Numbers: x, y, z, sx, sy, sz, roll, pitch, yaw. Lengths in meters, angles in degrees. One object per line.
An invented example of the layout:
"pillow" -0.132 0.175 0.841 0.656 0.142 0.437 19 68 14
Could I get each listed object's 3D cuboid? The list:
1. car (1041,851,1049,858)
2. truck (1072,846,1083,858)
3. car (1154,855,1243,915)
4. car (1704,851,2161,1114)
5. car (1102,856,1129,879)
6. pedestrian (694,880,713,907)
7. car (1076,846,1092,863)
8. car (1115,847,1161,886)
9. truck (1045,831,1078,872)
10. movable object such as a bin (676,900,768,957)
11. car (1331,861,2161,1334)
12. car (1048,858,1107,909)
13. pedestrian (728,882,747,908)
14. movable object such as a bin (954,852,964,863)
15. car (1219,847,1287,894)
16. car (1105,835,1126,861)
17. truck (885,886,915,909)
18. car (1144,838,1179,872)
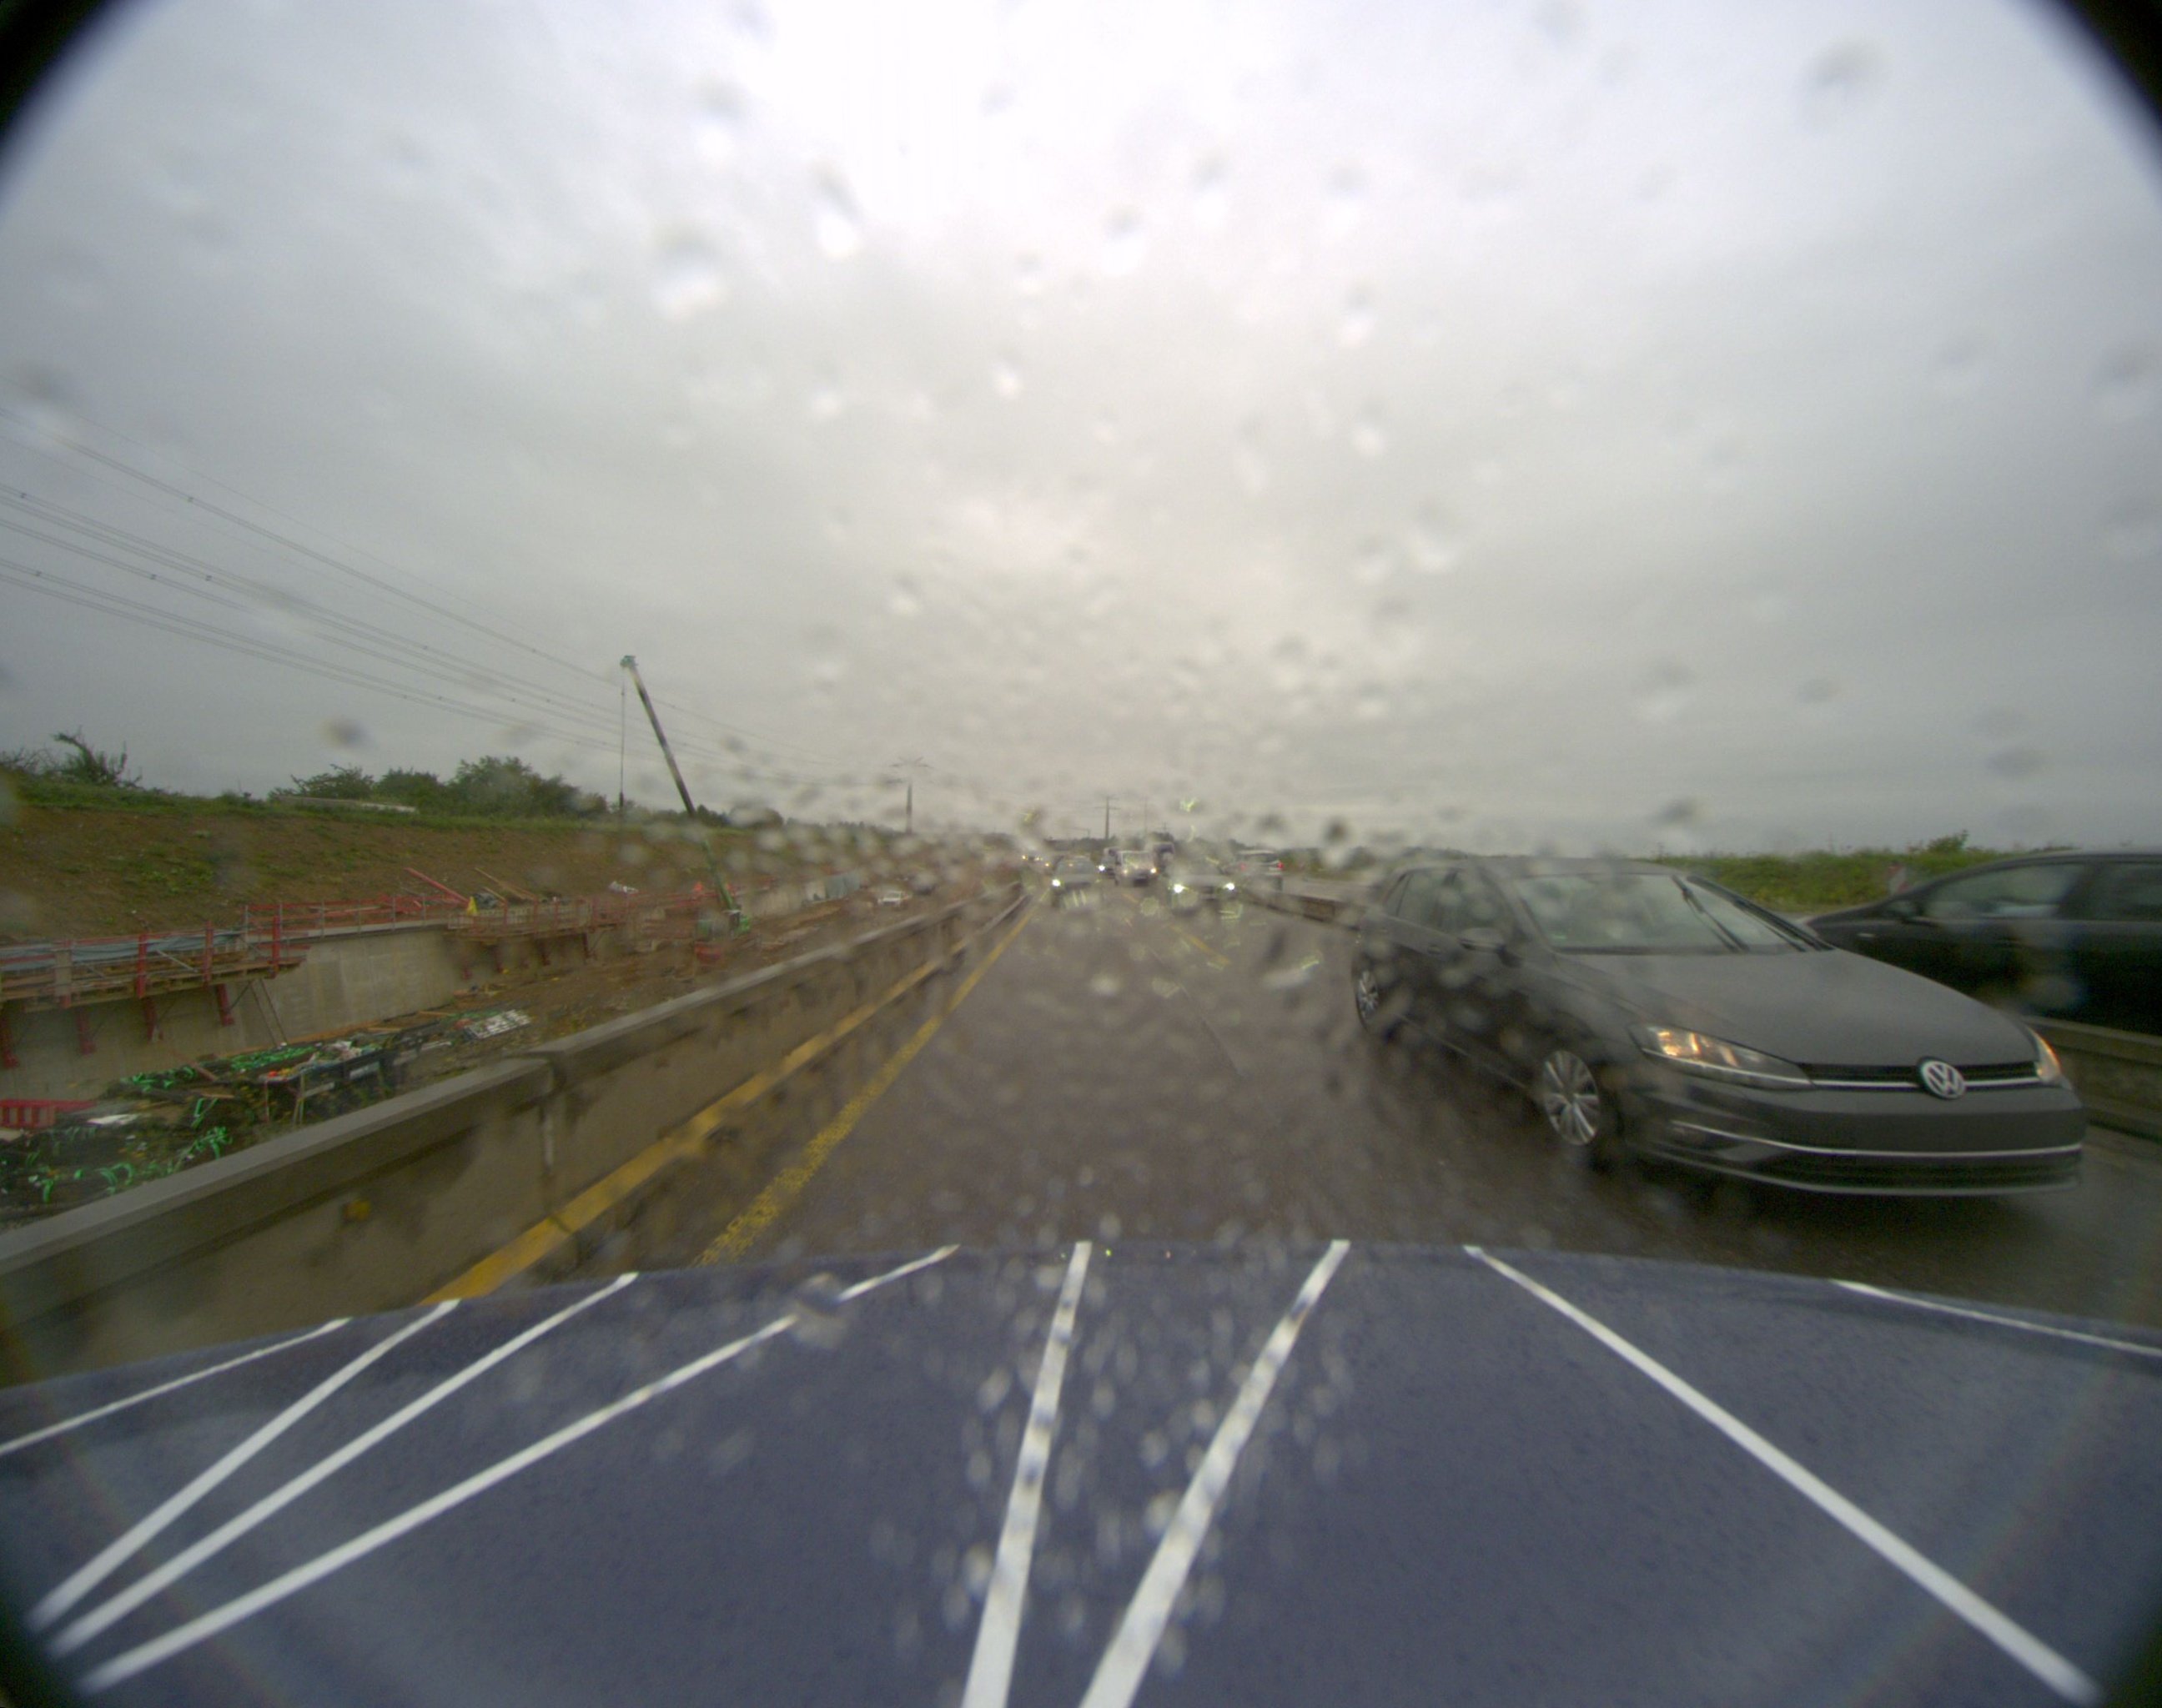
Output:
"car" -9.409 0.138 198.380 1.800 1.850 4.284 -2 1 -5
"truck" -0.892 -0.576 192.974 2.365 2.877 6.545 0 1 -4
"car" 3.229 0.806 21.671 1.799 1.389 4.268 -2 1 0
"car" 7.128 0.760 5.488 1.614 1.435 4.461 -2 1 1
"car" 2.509 0.990 56.508 1.799 1.521 4.067 -2 1 1
"pedestrian" -32.741 3.424 65.936 0.918 2.233 1.005 -7 2 -4
"car" 0.324 -0.006 89.168 1.800 1.850 4.286 -2 1 0
"car" 2.983 0.582 40.862 2.160 1.848 5.179 -2 1 1
"truck" -1.982 -0.283 73.225 2.837 3.617 9.117 -2 1 -2
"movable object such as a bin" -23.723 4.867 50.532 3.803 2.790 4.849 -1 6 -3
"car" 3.051 0.823 4.555 1.654 1.414 4.079 -2 1 -1
"car" -0.047 0.967 26.762 1.799 1.524 4.308 -2 0 3
"pedestrian" -30.798 3.687 68.201 0.917 2.219 1.006 -6 2 2
"movable object such as a bin" -32.179 1.009 200.917 2.252 2.703 3.997 -2 1 -5
"car" 6.962 0.614 31.135 1.795 1.713 4.287 -2 0 1
"car" 4.080 -0.692 90.318 1.999 2.995 5.778 -2 0 -1
"truck" -18.117 4.303 76.115 1.767 1.860 5.784 0 1 -2
"car" 6.229 0.094 59.316 2.029 2.534 5.958 -1 0 0
